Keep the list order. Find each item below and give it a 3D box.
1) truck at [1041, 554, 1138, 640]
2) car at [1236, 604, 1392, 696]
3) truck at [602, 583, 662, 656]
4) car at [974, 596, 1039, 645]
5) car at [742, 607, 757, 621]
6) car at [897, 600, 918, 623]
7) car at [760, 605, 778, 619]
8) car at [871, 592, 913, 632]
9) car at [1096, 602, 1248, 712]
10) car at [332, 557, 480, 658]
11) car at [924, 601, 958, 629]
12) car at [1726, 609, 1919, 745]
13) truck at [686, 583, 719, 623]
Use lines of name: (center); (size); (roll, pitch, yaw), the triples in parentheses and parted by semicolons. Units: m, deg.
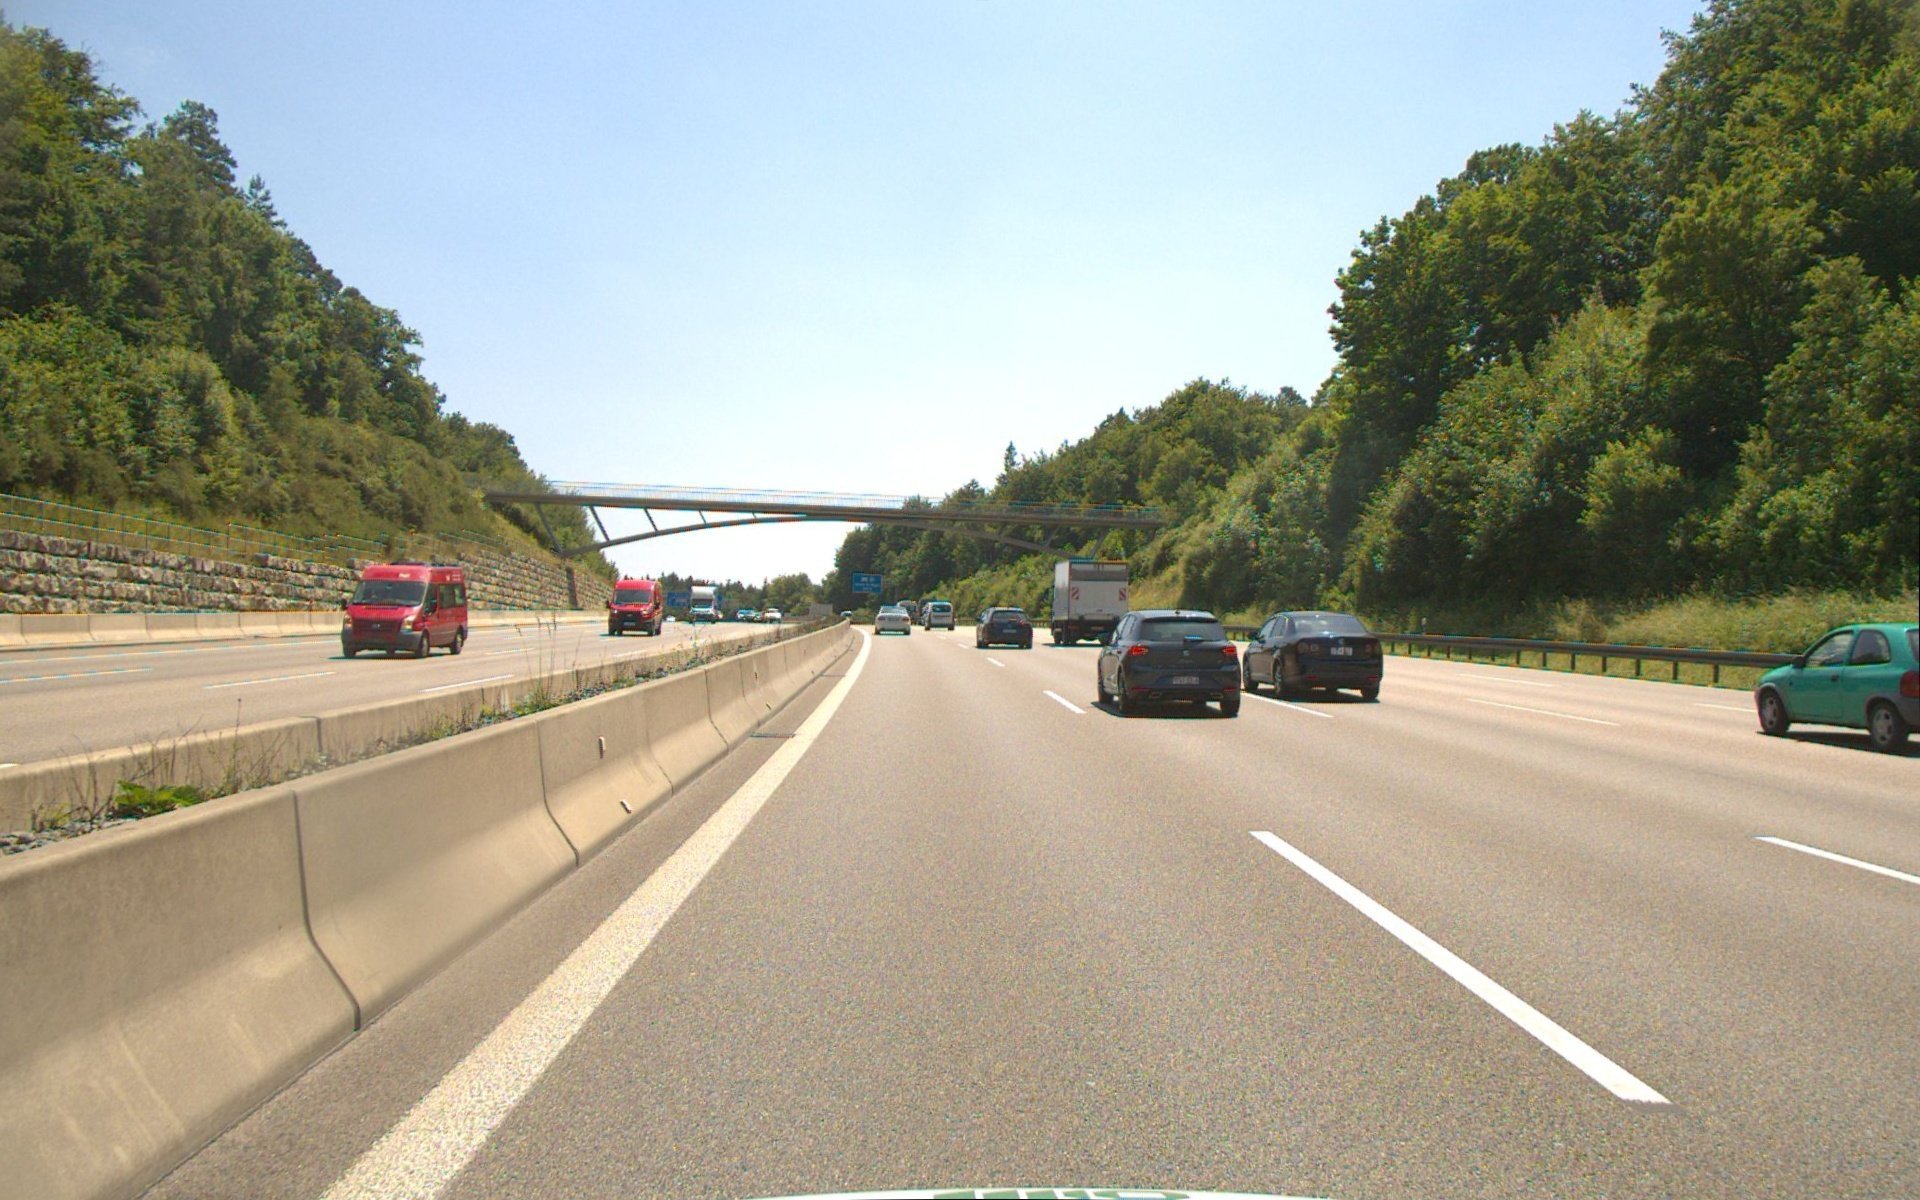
truck: (5.100, -0.128, 66.301); (2.926, 3.222, 7.570); (1, 0, -3)
car: (6.073, 0.804, 28.938); (1.631, 1.433, 4.902); (1, 0, -1)
truck: (-14.783, 0.810, 74.824); (2.070, 3.028, 7.004); (1, 1, -7)
car: (1.643, 0.705, 59.439); (1.954, 1.662, 4.757); (1, 0, -3)
car: (-26.309, 1.689, 206.538); (1.621, 1.577, 3.996); (2, 1, -5)
car: (-5.784, 1.267, 182.541); (2.219, 2.413, 4.699); (1, -1, -2)
car: (-21.930, 1.366, 189.764); (1.863, 1.522, 4.800); (1, 0, -5)
car: (-3.601, 0.665, 86.838); (1.973, 1.878, 3.995); (1, -4, -5)
car: (3.027, 0.781, 24.335); (1.673, 1.458, 3.999); (1, 0, -1)
car: (-13.990, 0.173, 42.152); (1.953, 2.377, 5.542); (1, 0, -1)
car: (-1.266, 0.980, 109.216); (2.061, 1.775, 4.684); (1, 0, -3)
car: (11.065, 0.849, 20.014); (1.513, 1.469, 4.339); (1, 0, -1)
truck: (-21.696, 0.224, 139.633); (2.232, 3.198, 6.912); (2, 0, -5)
